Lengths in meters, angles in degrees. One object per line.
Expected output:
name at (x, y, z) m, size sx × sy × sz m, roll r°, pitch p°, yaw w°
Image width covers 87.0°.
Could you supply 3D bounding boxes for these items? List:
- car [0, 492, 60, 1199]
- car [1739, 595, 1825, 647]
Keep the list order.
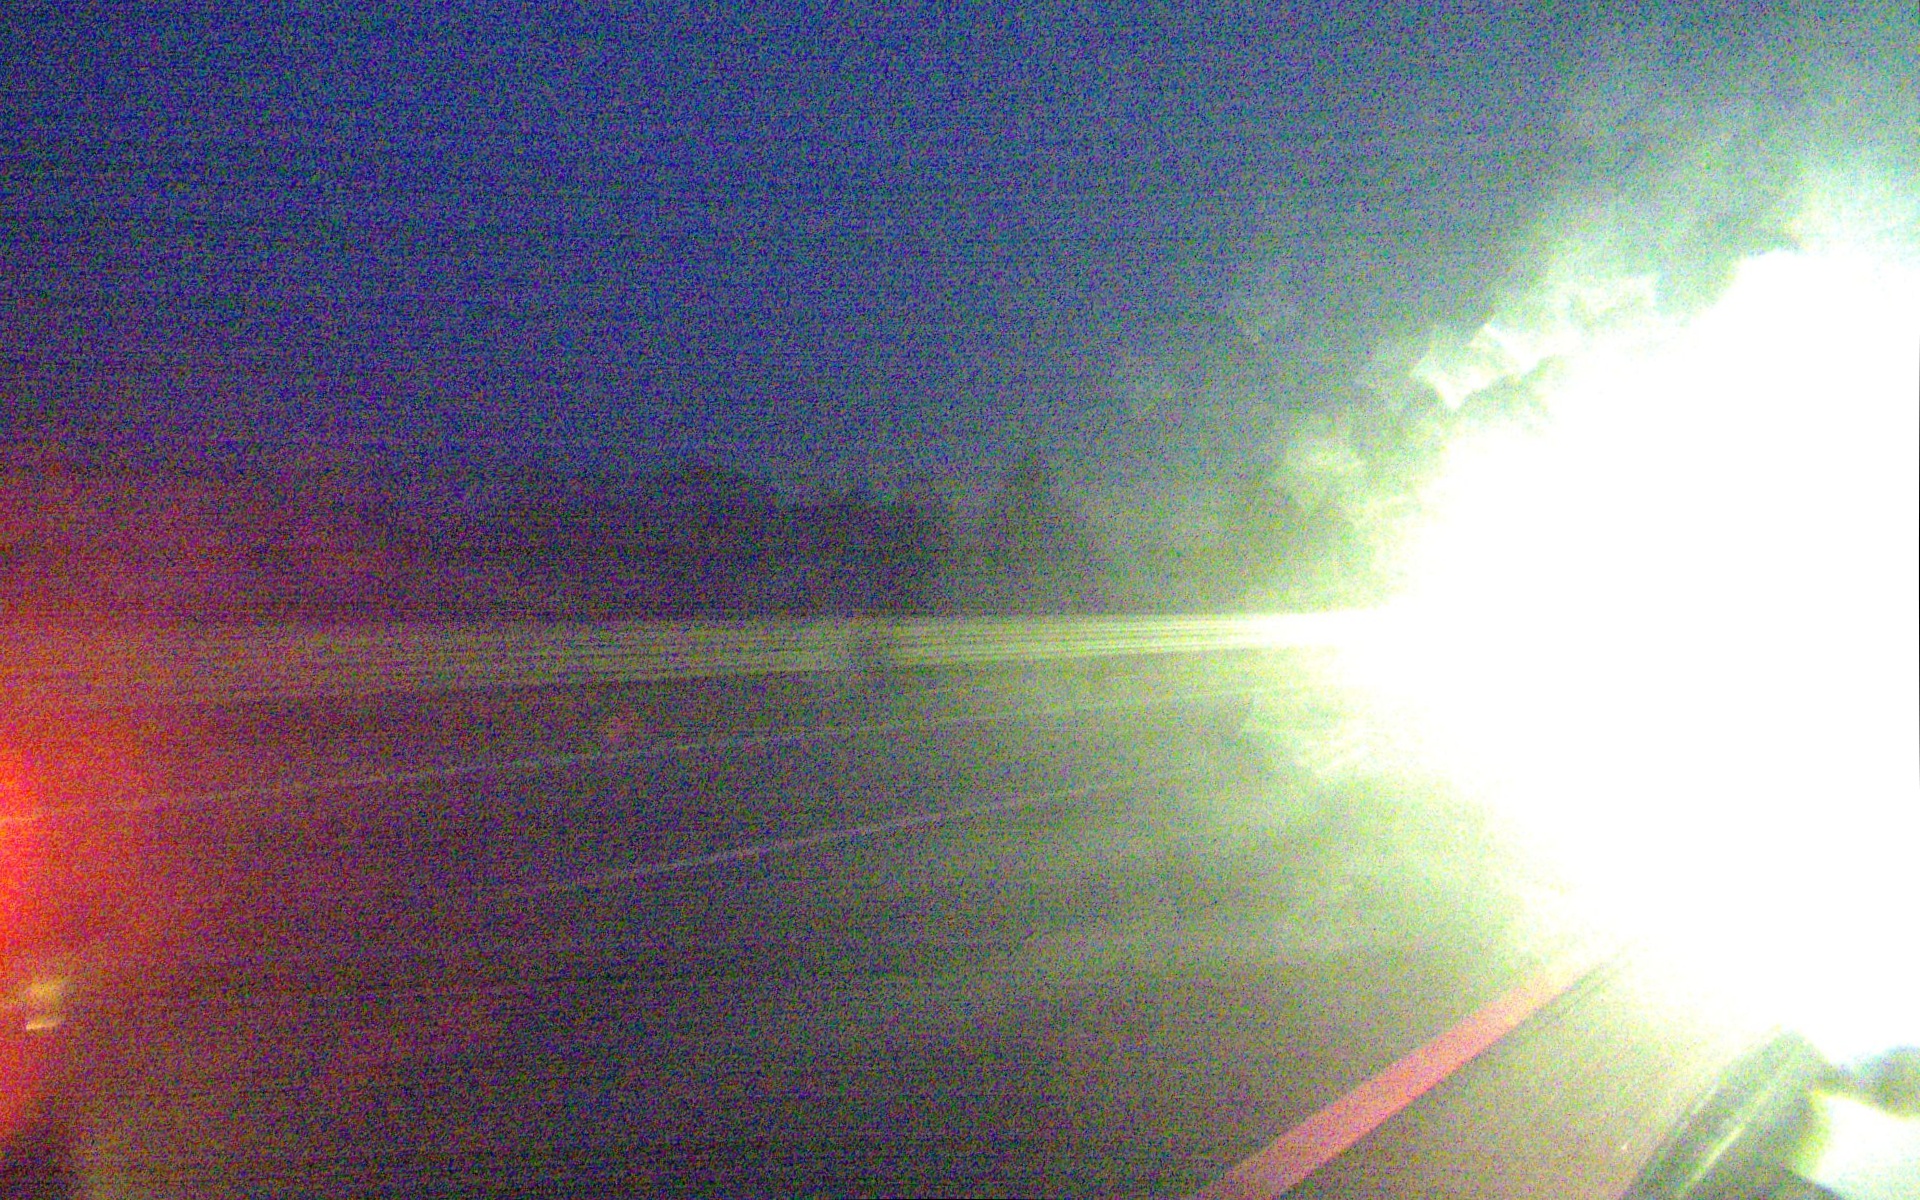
car at (-3.948, 0.601, 1.089) m, size 4.416 × 1.595 × 1.743 m, roll -1°, pitch 1°, yaw -41°
car at (26.022, 0.640, 32.003) m, size 3.946 × 1.522 × 1.641 m, roll 1°, pitch 1°, yaw -44°
